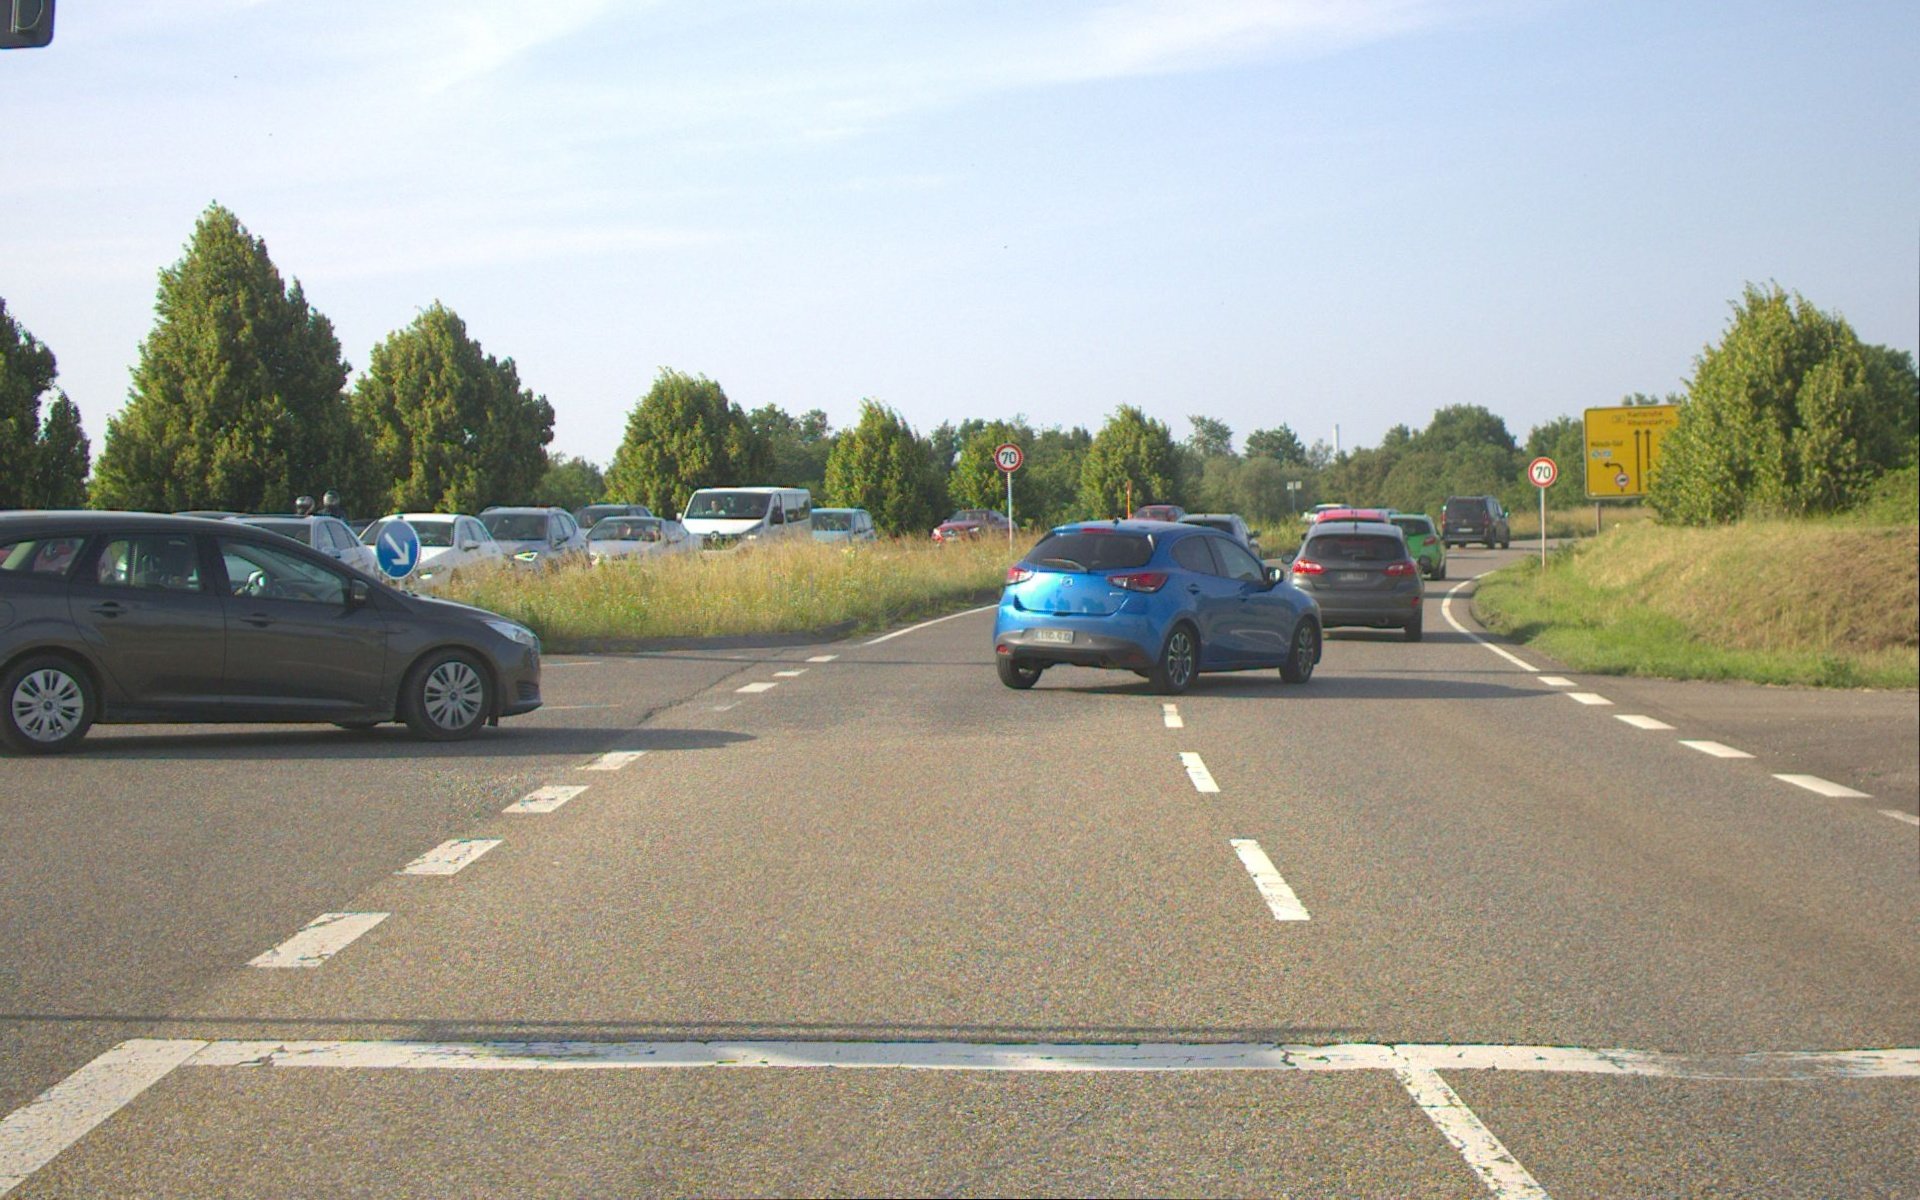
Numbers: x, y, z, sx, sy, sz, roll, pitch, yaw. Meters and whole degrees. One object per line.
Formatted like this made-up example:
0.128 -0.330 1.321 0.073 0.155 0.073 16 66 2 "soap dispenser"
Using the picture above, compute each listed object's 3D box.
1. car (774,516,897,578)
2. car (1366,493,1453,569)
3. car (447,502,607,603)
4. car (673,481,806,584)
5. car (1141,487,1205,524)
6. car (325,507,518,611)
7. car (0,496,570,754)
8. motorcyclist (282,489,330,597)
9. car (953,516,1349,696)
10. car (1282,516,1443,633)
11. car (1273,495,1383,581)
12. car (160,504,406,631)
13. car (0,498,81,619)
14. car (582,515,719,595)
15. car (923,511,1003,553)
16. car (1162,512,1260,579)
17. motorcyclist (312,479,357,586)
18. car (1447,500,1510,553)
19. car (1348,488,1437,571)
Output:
-2.866 -1.255 80.131 1.787 1.381 4.049 0 1 14 "car"
11.840 -1.802 90.797 1.909 1.909 4.278 0 0 2 "car"
-7.008 -0.797 56.004 1.786 1.563 4.051 -1 1 5 "car"
-4.553 -1.417 71.542 1.926 2.071 4.242 0 1 8 "car"
8.383 -3.715 135.270 1.787 1.381 4.049 0 1 14 "car"
-7.775 -0.615 49.979 1.786 1.428 4.308 -1 1 5 "car"
-4.976 0.124 22.300 4.516 1.560 1.816 0 1 -30 "car"
-10.635 -0.922 55.903 0.662 1.741 0.605 -1 1 -2 "motorcyclist"
1.763 -0.001 30.526 1.776 1.487 3.978 1 2 33 "car"
5.047 -0.311 43.508 1.915 1.411 3.795 0 0 5 "car"
6.969 -1.145 64.838 1.896 1.559 4.276 0 0 8 "car"
-8.346 -0.436 42.795 1.786 1.483 4.650 -1 1 5 "car"
-12.499 -0.523 42.960 1.721 1.483 3.804 -1 1 6 "car"
-5.570 -0.838 62.215 1.786 1.381 4.051 -1 1 5 "car"
0.114 -2.330 117.607 1.787 1.381 4.049 0 1 14 "car"
5.445 -1.159 74.151 1.837 1.372 4.276 0 0 8 "car"
-10.690 -1.149 58.777 0.662 1.810 0.605 -1 1 -2 "motorcyclist"
17.757 -2.512 117.896 1.909 1.728 4.277 0 0 6 "car"
9.786 -1.568 77.562 1.909 1.794 4.276 0 0 8 "car"
